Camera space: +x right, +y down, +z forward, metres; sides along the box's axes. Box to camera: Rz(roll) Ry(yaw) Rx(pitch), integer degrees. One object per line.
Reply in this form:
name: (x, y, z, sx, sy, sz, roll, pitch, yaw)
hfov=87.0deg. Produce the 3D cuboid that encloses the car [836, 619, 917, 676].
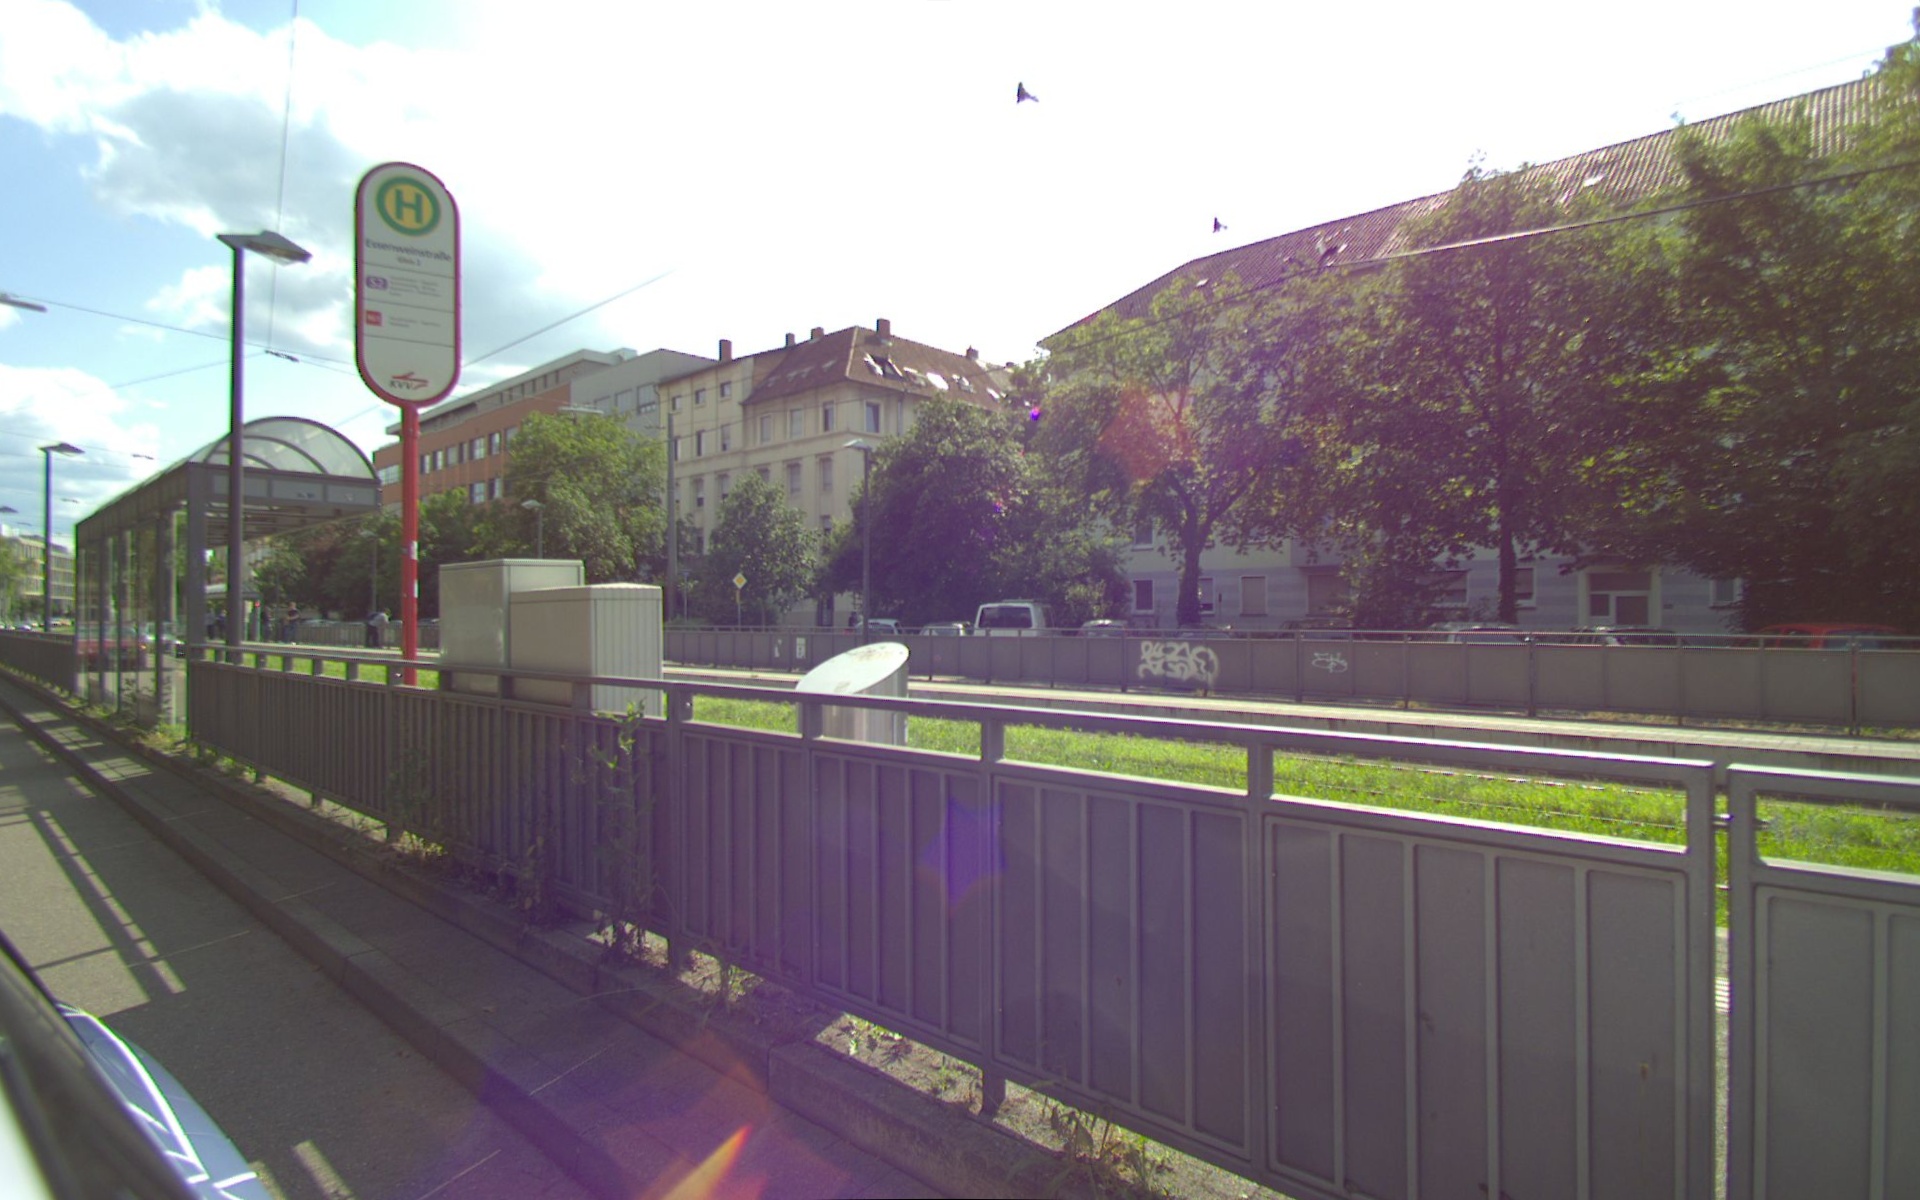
car: (-2.543, 1.450, 31.847, 1.805, 1.652, 3.992, -2, -2, 6)

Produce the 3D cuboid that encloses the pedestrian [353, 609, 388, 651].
pedestrian: (-22.873, 1.145, 39.272, 0.798, 1.590, 0.978, -1, -2, 40)

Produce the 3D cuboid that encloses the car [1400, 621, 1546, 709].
car: (9.851, 1.186, 19.743, 1.593, 1.525, 4.011, -1, -1, 13)

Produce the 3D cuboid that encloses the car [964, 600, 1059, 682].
car: (1.500, 1.093, 27.816, 2.029, 2.086, 3.937, -1, -1, 12)

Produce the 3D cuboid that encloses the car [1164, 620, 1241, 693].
car: (5.684, 1.271, 23.968, 1.632, 1.591, 3.652, -1, -1, 12)

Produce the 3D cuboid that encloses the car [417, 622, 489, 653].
car: (-28.397, 2.077, 56.821, 1.811, 1.652, 4.132, 0, -1, 4)

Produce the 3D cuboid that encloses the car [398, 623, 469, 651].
car: (-30.528, 2.124, 58.781, 1.591, 1.580, 3.988, -1, -1, 9)

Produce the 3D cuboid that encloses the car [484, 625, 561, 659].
car: (-21.538, 2.044, 49.990, 1.901, 1.576, 4.150, 0, -1, 2)

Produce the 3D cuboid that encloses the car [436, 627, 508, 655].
car: (-26.182, 2.185, 54.461, 1.792, 1.402, 4.020, -1, -1, 2)

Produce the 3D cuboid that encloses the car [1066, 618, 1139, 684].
car: (3.804, 1.289, 26.523, 1.701, 1.591, 3.937, -1, -1, 11)

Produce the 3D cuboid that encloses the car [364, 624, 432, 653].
car: (-34.713, 2.337, 62.663, 1.652, 1.540, 3.992, -2, 0, 6)

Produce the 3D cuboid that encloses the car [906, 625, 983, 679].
car: (-0.396, 1.494, 30.196, 1.591, 1.497, 3.988, -1, -1, 9)

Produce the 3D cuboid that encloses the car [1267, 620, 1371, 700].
car: (7.739, 1.248, 22.111, 1.632, 1.591, 3.652, -1, -1, 12)

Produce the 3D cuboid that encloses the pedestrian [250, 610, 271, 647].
pedestrian: (-33.331, 1.362, 48.226, 0.599, 1.767, 0.626, 0, -1, -6)

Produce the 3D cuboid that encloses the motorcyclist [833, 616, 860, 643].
motorcyclist: (-5.702, 1.492, 50.781, 0.987, 1.349, 0.928, -2, -2, 44)

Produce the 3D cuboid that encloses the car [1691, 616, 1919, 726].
car: (13.824, 1.071, 16.552, 1.632, 1.591, 3.652, -1, -1, 12)

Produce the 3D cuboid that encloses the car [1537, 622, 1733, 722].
car: (11.907, 1.204, 18.130, 1.632, 1.591, 3.652, -1, -1, 12)

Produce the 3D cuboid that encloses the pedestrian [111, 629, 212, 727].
pedestrian: (-9.144, 0.878, 11.620, 0.652, 1.080, 0.725, 0, -2, -13)

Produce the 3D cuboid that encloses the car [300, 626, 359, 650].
car: (-43.806, 2.631, 70.374, 1.569, 1.431, 3.299, -1, 1, 13)

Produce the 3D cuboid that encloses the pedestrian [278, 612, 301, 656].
pedestrian: (-29.822, 1.489, 45.012, 0.742, 1.906, 0.639, 1, 0, -45)

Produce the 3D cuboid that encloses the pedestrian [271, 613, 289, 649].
pedestrian: (-32.729, 1.481, 48.690, 0.625, 1.687, 0.600, -1, -1, 43)
